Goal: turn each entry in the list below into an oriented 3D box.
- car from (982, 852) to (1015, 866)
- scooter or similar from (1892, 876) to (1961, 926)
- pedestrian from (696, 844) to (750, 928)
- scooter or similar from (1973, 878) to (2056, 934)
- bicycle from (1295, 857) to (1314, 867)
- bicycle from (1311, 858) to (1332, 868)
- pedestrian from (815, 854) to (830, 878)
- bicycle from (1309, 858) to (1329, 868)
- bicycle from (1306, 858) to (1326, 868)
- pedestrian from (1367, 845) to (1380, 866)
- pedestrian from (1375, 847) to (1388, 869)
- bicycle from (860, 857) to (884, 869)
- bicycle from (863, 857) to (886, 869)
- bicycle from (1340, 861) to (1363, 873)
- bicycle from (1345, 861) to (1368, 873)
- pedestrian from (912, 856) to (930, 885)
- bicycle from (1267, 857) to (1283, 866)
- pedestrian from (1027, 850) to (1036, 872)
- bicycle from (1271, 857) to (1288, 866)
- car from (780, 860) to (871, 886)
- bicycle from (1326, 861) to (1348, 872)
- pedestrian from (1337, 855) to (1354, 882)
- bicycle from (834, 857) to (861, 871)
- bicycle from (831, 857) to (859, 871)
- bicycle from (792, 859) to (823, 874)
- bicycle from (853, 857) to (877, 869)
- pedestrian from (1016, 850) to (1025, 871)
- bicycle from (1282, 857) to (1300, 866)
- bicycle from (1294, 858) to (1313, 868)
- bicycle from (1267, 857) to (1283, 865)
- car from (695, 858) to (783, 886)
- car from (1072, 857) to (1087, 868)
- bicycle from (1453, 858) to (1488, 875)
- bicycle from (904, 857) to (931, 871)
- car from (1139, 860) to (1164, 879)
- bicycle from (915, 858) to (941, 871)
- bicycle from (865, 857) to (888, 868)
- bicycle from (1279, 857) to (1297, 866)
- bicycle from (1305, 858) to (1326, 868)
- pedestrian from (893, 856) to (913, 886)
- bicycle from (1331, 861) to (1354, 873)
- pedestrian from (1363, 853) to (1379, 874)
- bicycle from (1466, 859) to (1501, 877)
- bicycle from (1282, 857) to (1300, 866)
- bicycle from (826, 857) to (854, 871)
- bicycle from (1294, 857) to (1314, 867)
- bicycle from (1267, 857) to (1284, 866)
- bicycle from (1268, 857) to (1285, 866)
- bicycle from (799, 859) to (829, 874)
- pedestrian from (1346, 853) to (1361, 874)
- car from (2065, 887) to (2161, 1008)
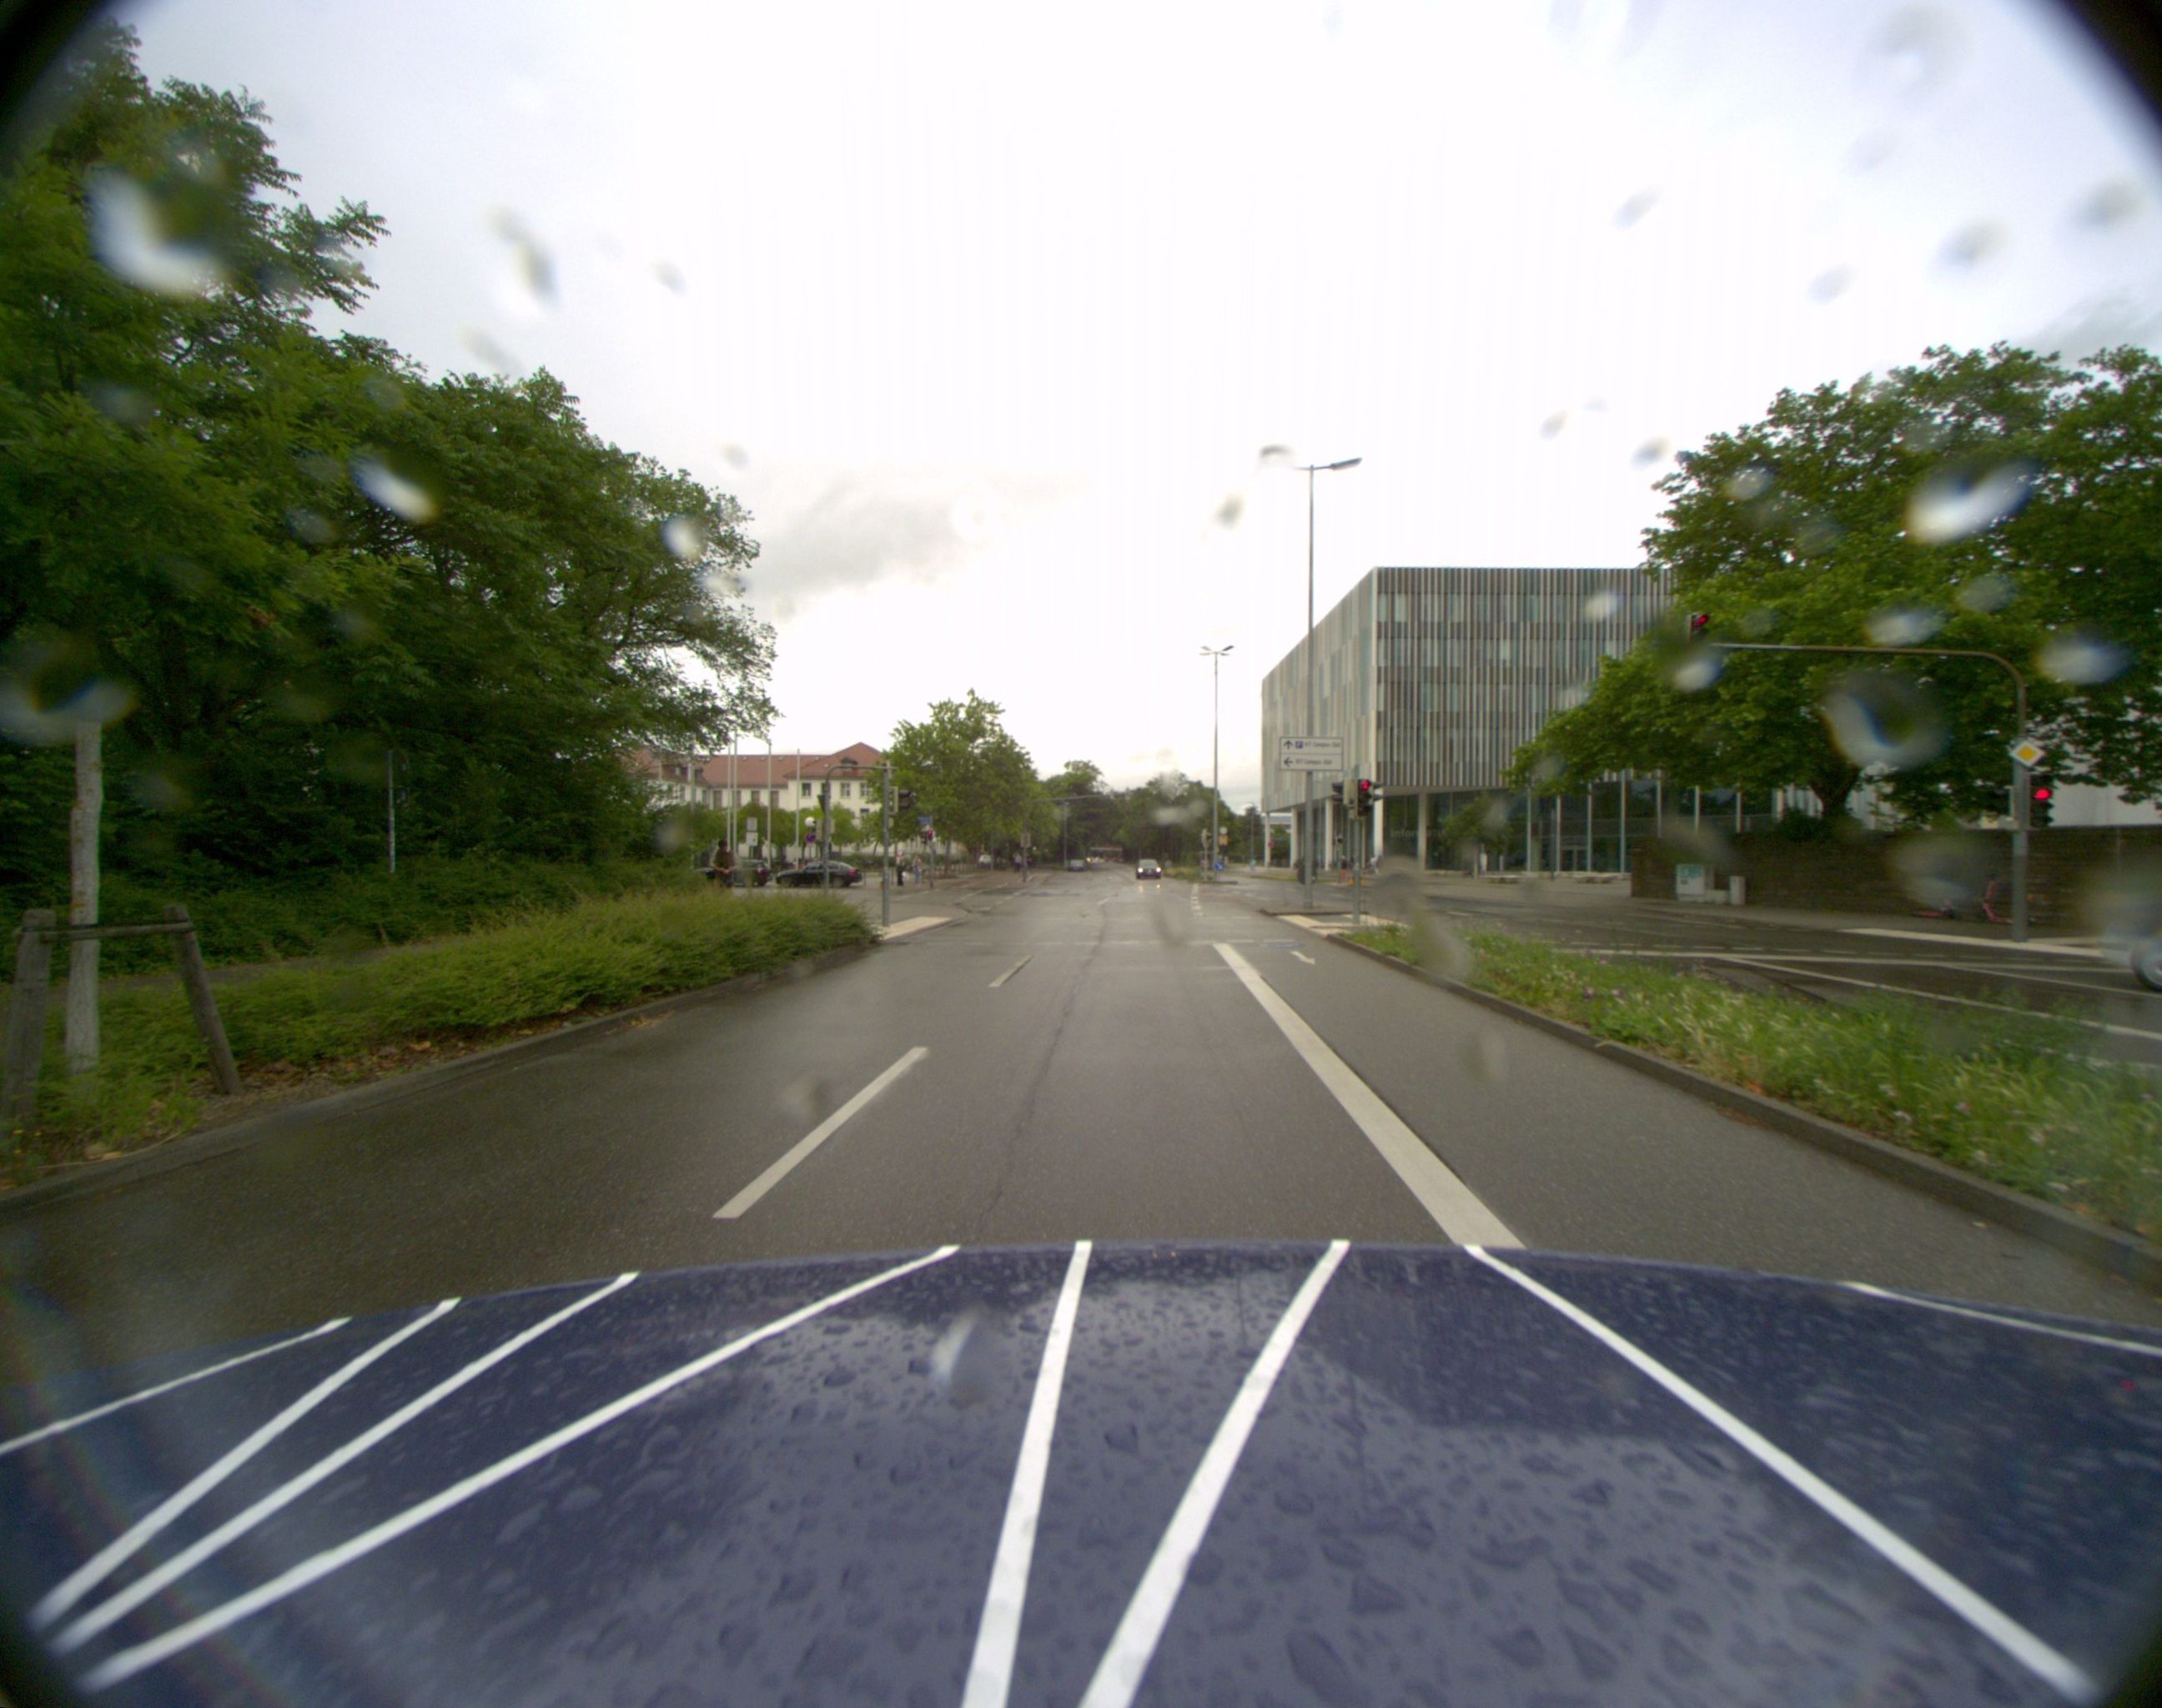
[{"bbox_3d":[-11.456,0.659,105.851,4.425,1.862,1.637,0,0,-5],"label":"car"},{"bbox_3d":[21.818,1.198,19.627,0.392,1.191,1.142,-6,1,-1],"label":"scooter or similar"},{"bbox_3d":[-8.061,0.701,17.117,0.731,1.848,0.851,1,0,10],"label":"pedestrian"},{"bbox_3d":[21.835,1.197,17.794,0.392,1.191,1.141,-6,1,-3],"label":"scooter or similar"},{"bbox_3d":[27.681,1.039,94.077,2.282,1.215,0.599,0,0,12],"label":"bicycle"},{"bbox_3d":[28.097,1.039,88.872,2.282,1.215,0.599,0,0,12],"label":"bicycle"},{"bbox_3d":[-18.791,0.838,55.249,0.851,1.728,1.121,0,1,-29],"label":"pedestrian"},{"bbox_3d":[28.180,1.041,89.957,2.282,1.215,0.599,0,0,12],"label":"bicycle"},{"bbox_3d":[28.150,1.041,90.995,2.282,1.215,0.599,0,0,12],"label":"bicycle"},{"bbox_3d":[25.486,0.144,66.146,0.788,1.814,0.623,0,0,-20],"label":"pedestrian"},{"bbox_3d":[25.550,0.349,64.570,0.788,1.814,0.623,0,0,-20],"label":"pedestrian"},{"bbox_3d":[-21.337,0.896,77.648,2.286,1.215,0.598,0,0,-9],"label":"bicycle"},{"bbox_3d":[-21.386,0.896,78.658,2.286,1.215,0.598,0,0,-9],"label":"bicycle"},{"bbox_3d":[28.495,1.374,80.081,2.286,1.215,0.598,0,0,-9],"label":"bicycle"},{"bbox_3d":[28.796,1.376,79.451,2.286,1.215,0.598,0,0,-9],"label":"bicycle"},{"bbox_3d":[-8.891,0.936,42.314,0.878,1.598,0.862,0,0,-19],"label":"pedestrian"},{"bbox_3d":[28.285,1.058,110.972,2.282,1.215,0.599,0,0,12],"label":"bicycle"},{"bbox_3d":[-4.202,0.587,64.515,0.625,1.814,0.785,0,0,-19],"label":"pedestrian"},{"bbox_3d":[27.671,1.048,105.993,2.282,1.215,0.599,0,0,12],"label":"bicycle"},{"bbox_3d":[-14.064,1.043,41.976,4.386,1.330,1.772,0,3,0],"label":"car"},{"bbox_3d":[27.818,1.370,82.618,2.286,1.215,0.598,0,0,-9],"label":"bicycle"},{"bbox_3d":[17.830,0.984,51.235,0.788,1.814,0.794,0,0,-20],"label":"pedestrian"},{"bbox_3d":[-21.124,0.891,68.719,2.286,1.215,0.598,0,0,-9],"label":"bicycle"},{"bbox_3d":[-21.113,0.890,67.911,2.286,1.215,0.598,0,0,-9],"label":"bicycle"},{"bbox_3d":[-22.596,1.041,62.838,2.286,1.215,0.598,0,0,-9],"label":"bicycle"},{"bbox_3d":[-21.590,0.892,75.967,2.286,1.215,0.598,0,0,-9],"label":"bicycle"},{"bbox_3d":[-5.120,0.559,64.246,0.625,1.814,0.786,0,0,-11],"label":"pedestrian"},{"bbox_3d":[28.260,1.051,102.347,2.282,1.215,0.599,0,0,12],"label":"bicycle"},{"bbox_3d":[28.086,1.112,95.913,2.282,1.215,0.599,0,0,12],"label":"bicycle"},{"bbox_3d":[28.535,1.061,111.813,2.282,1.215,0.599,0,0,12],"label":"bicycle"},{"bbox_3d":[-18.774,0.992,41.863,4.013,1.371,1.773,0,3,2],"label":"car"},{"bbox_3d":[-0.165,1.007,91.711,1.660,1.259,4.107,0,0,2],"label":"car"},{"bbox_3d":[27.773,0.895,54.129,2.286,1.215,0.598,0,0,-9],"label":"bicycle"},{"bbox_3d":[-14.260,0.902,66.441,2.286,1.215,0.598,0,0,-9],"label":"bicycle"},{"bbox_3d":[5.382,1.199,58.762,1.660,1.356,4.107,0,0,2],"label":"car"},{"bbox_3d":[-14.337,0.958,71.256,2.286,1.215,0.598,0,0,-9],"label":"bicycle"},{"bbox_3d":[-21.496,0.896,79.735,2.286,1.215,0.598,0,0,-9],"label":"bicycle"},{"bbox_3d":[28.467,1.055,104.582,2.282,1.215,0.599,0,0,12],"label":"bicycle"},{"bbox_3d":[28.356,1.112,91.902,2.282,1.215,0.599,0,0,12],"label":"bicycle"},{"bbox_3d":[-9.882,0.926,42.080,0.879,1.598,0.861,0,0,-29],"label":"pedestrian"},{"bbox_3d":[28.037,1.371,81.510,2.286,1.215,0.598,0,0,-9],"label":"bicycle"},{"bbox_3d":[25.897,0.856,67.935,0.940,1.814,0.922,0,0,-20],"label":"pedestrian"},{"bbox_3d":[28.134,0.989,53.129,2.286,1.215,0.598,0,0,-9],"label":"bicycle"},{"bbox_3d":[28.447,1.053,102.992,2.282,1.215,0.599,0,0,12],"label":"bicycle"},{"bbox_3d":[-21.256,0.888,66.995,2.286,1.215,0.598,0,0,-9],"label":"bicycle"},{"bbox_3d":[27.855,1.041,94.896,2.282,1.215,0.599,0,0,12],"label":"bicycle"},{"bbox_3d":[28.018,1.054,109.367,2.282,1.215,0.599,0,0,12],"label":"bicycle"},{"bbox_3d":[27.743,1.051,107.988,2.282,1.215,0.599,0,0,12],"label":"bicycle"},{"bbox_3d":[-22.297,1.046,63.542,2.286,1.215,0.598,0,0,-9],"label":"bicycle"},{"bbox_3d":[24.580,0.843,68.538,0.941,1.814,0.921,0,0,-27],"label":"pedestrian"},{"bbox_3d":[13.604,1.161,7.682,1.599,1.407,4.525,2,0,4],"label":"car"}]
